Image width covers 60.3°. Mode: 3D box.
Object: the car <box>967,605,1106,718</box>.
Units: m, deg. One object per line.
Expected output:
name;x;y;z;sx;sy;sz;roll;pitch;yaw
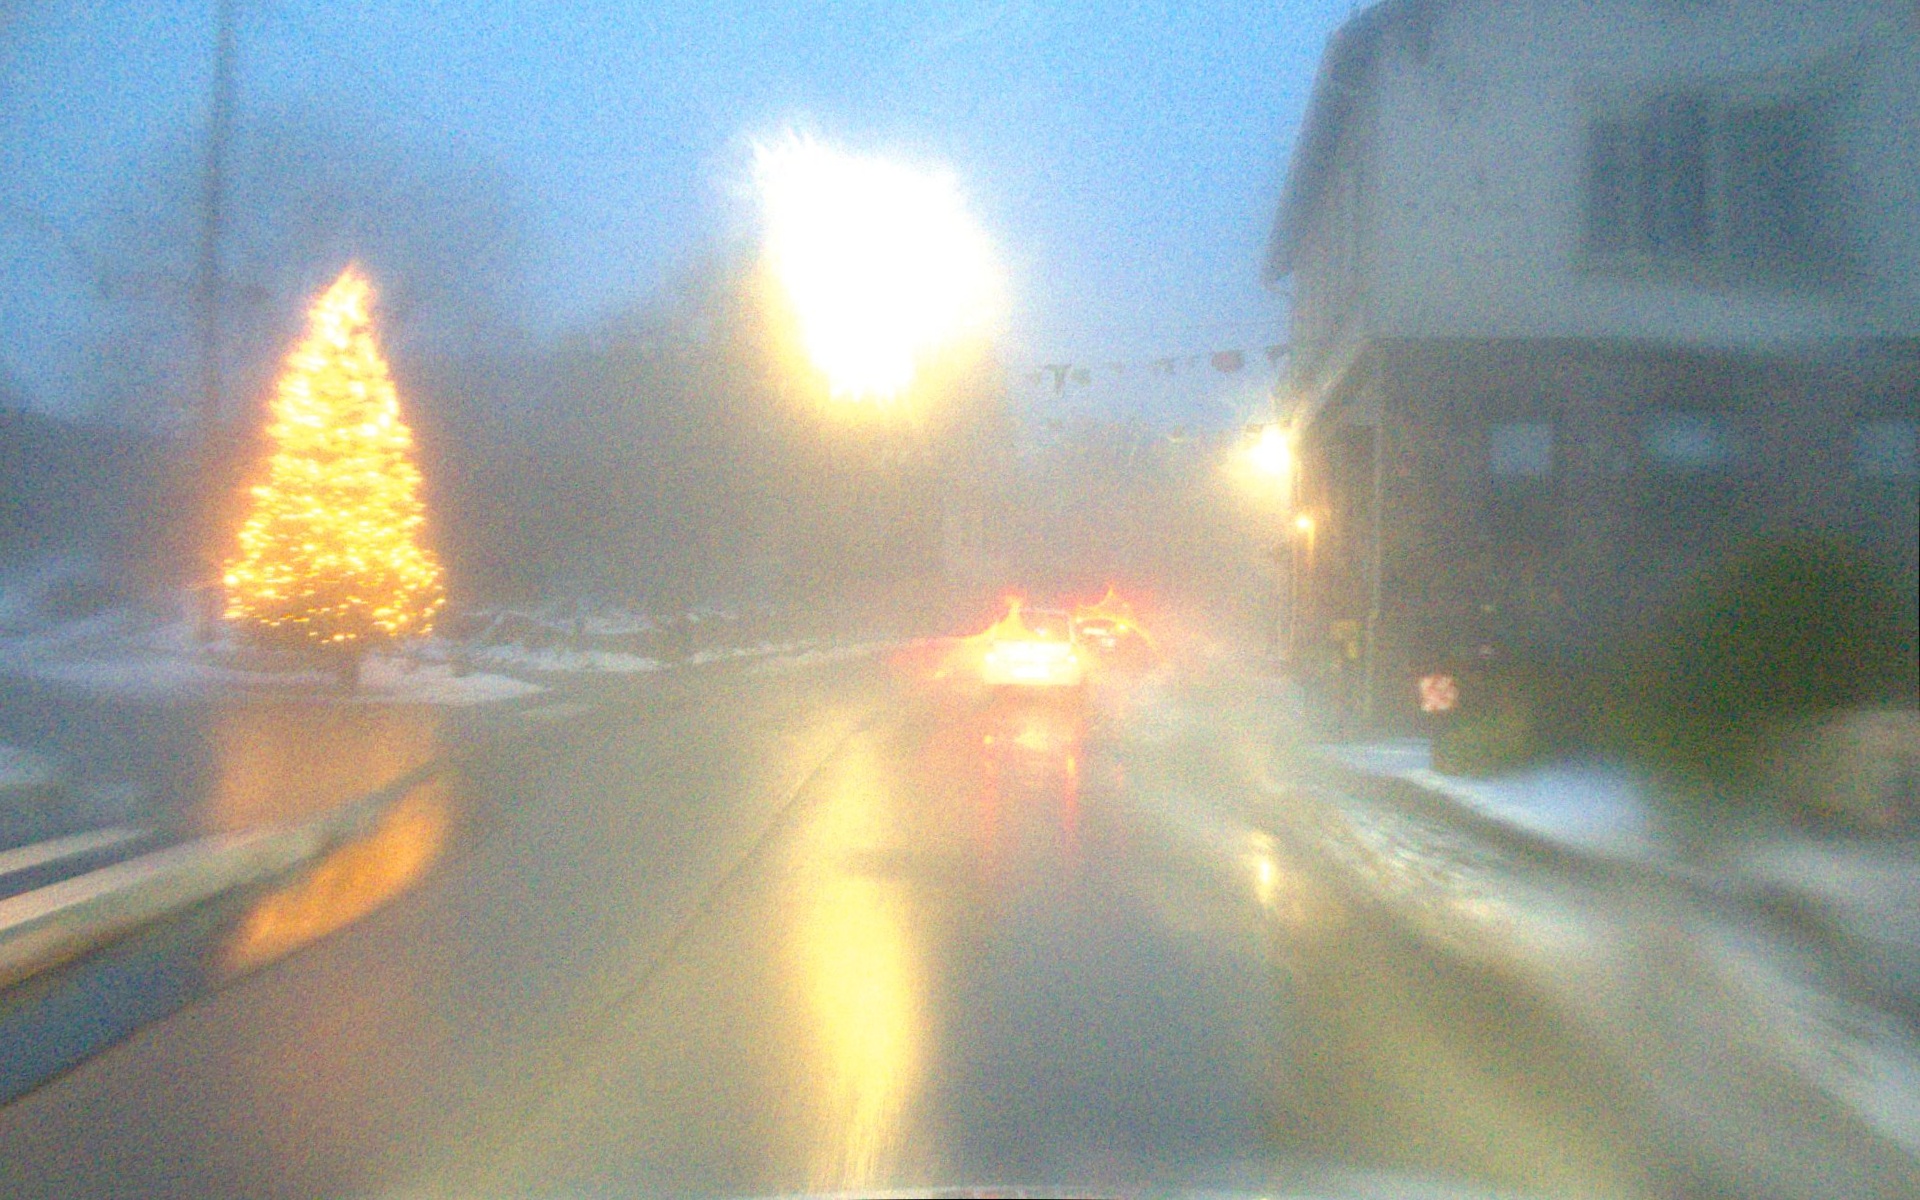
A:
car;1.241;1.000;26.492;1.952;1.534;4.001;4;-3;3

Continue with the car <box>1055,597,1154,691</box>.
car;3.593;1.128;40.387;1.951;2.049;4.002;4;-3;10
